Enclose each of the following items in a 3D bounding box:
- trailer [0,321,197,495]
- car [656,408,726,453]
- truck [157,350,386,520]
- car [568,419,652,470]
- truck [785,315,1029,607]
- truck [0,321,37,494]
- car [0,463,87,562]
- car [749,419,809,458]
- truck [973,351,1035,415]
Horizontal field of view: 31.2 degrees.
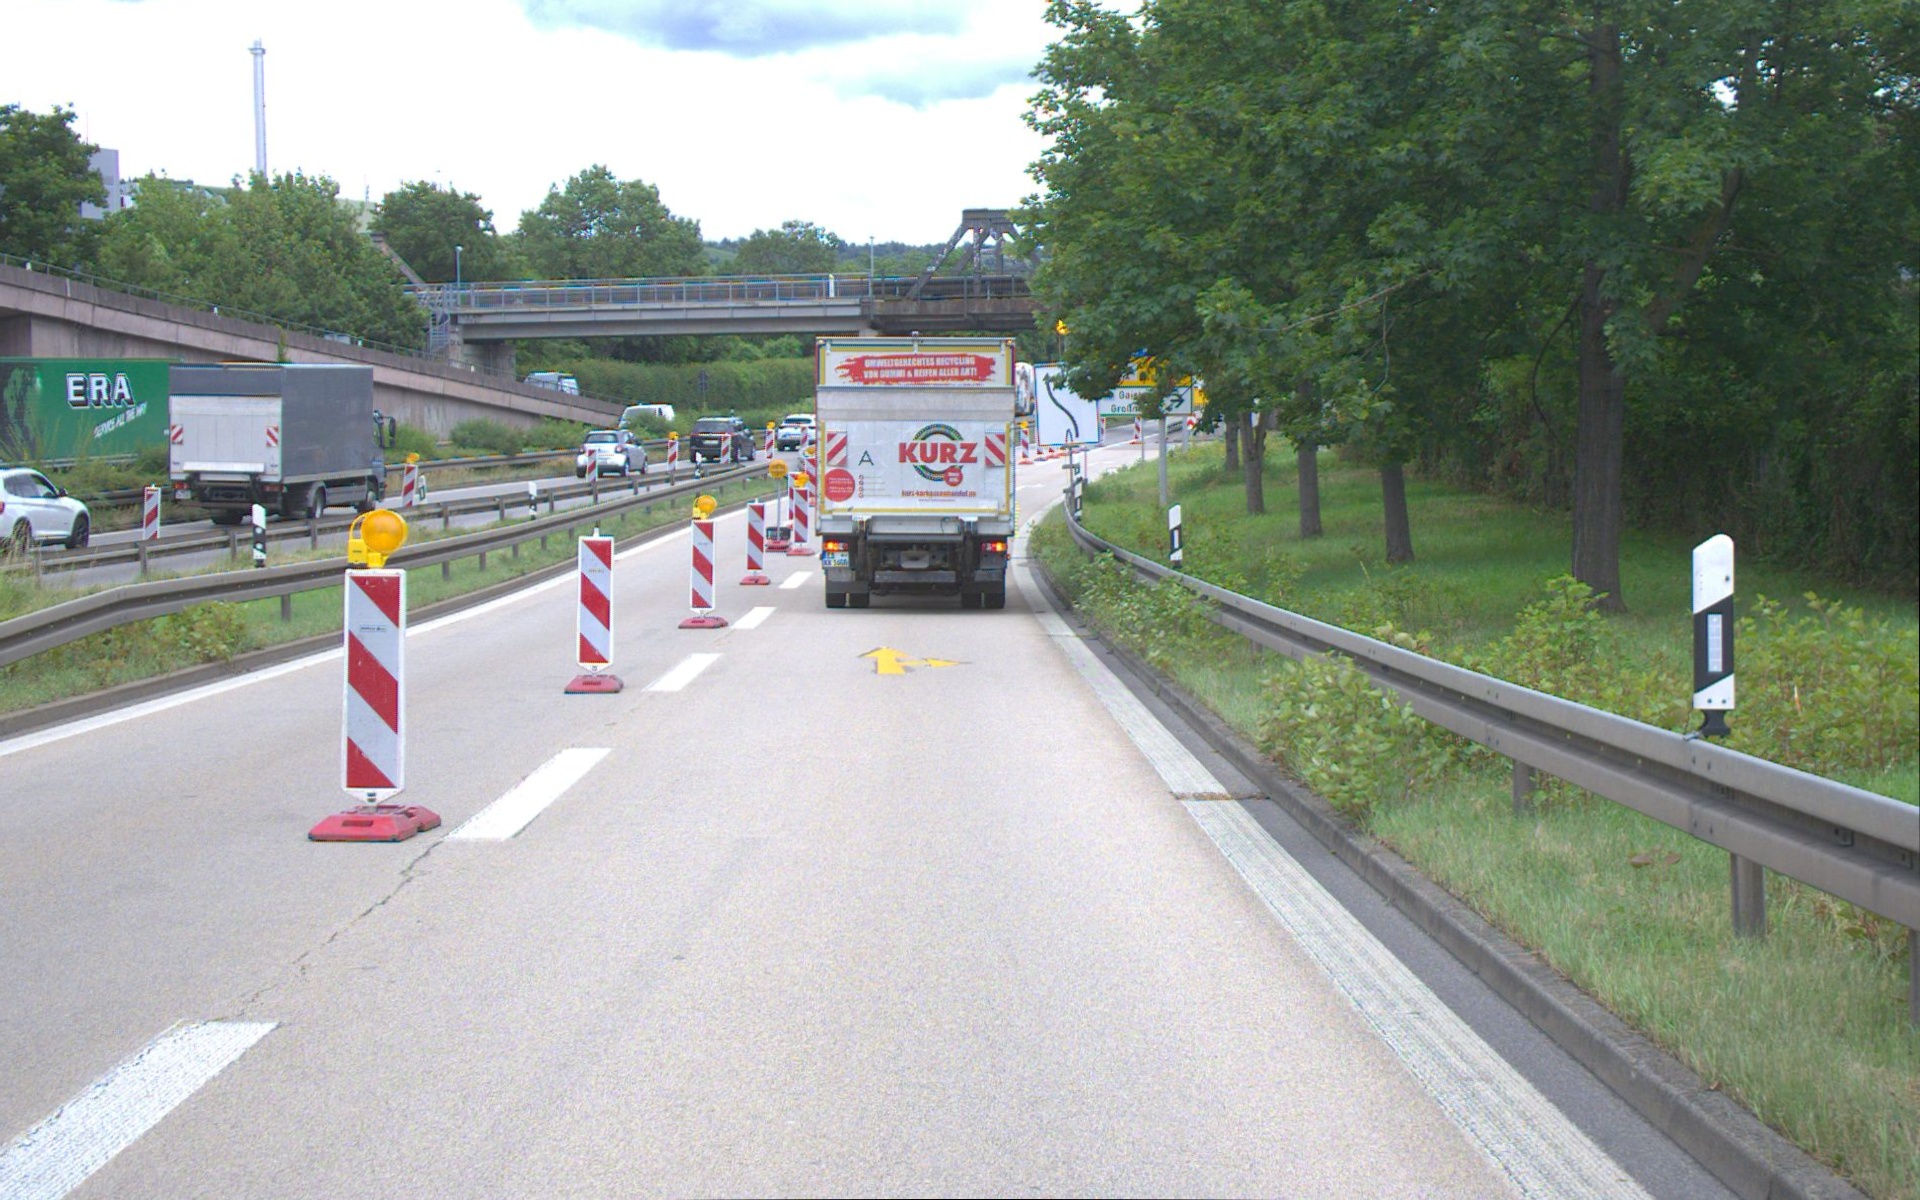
[{"bbox_3d":[-24.120,-5.091,91.455,2.772,4.279,13.977,0,3,8],"label":"trailer"},{"bbox_3d":[-9.918,-6.258,126.911,1.994,1.612,4.000,0,3,4],"label":"car"},{"bbox_3d":[-15.372,-3.723,77.392,3.051,3.643,7.395,0,3,5],"label":"truck"},{"bbox_3d":[-11.291,-5.044,111.112,1.994,1.612,4.000,0,3,4],"label":"car"},{"bbox_3d":[-0.685,-1.870,47.169,3.051,3.660,7.928,0,2,0],"label":"truck"},{"bbox_3d":[-25.084,-4.707,84.277,2.753,4.257,5.502,0,3,8],"label":"truck"},{"bbox_3d":[-17.688,-1.619,62.648,1.994,1.706,4.100,0,3,9],"label":"car"},{"bbox_3d":[-7.512,-6.738,143.029,1.994,1.612,4.000,0,3,4],"label":"car"},{"bbox_3d":[2.742,-13.357,211.978,3.287,3.839,7.664,0,3,4],"label":"truck"}]
